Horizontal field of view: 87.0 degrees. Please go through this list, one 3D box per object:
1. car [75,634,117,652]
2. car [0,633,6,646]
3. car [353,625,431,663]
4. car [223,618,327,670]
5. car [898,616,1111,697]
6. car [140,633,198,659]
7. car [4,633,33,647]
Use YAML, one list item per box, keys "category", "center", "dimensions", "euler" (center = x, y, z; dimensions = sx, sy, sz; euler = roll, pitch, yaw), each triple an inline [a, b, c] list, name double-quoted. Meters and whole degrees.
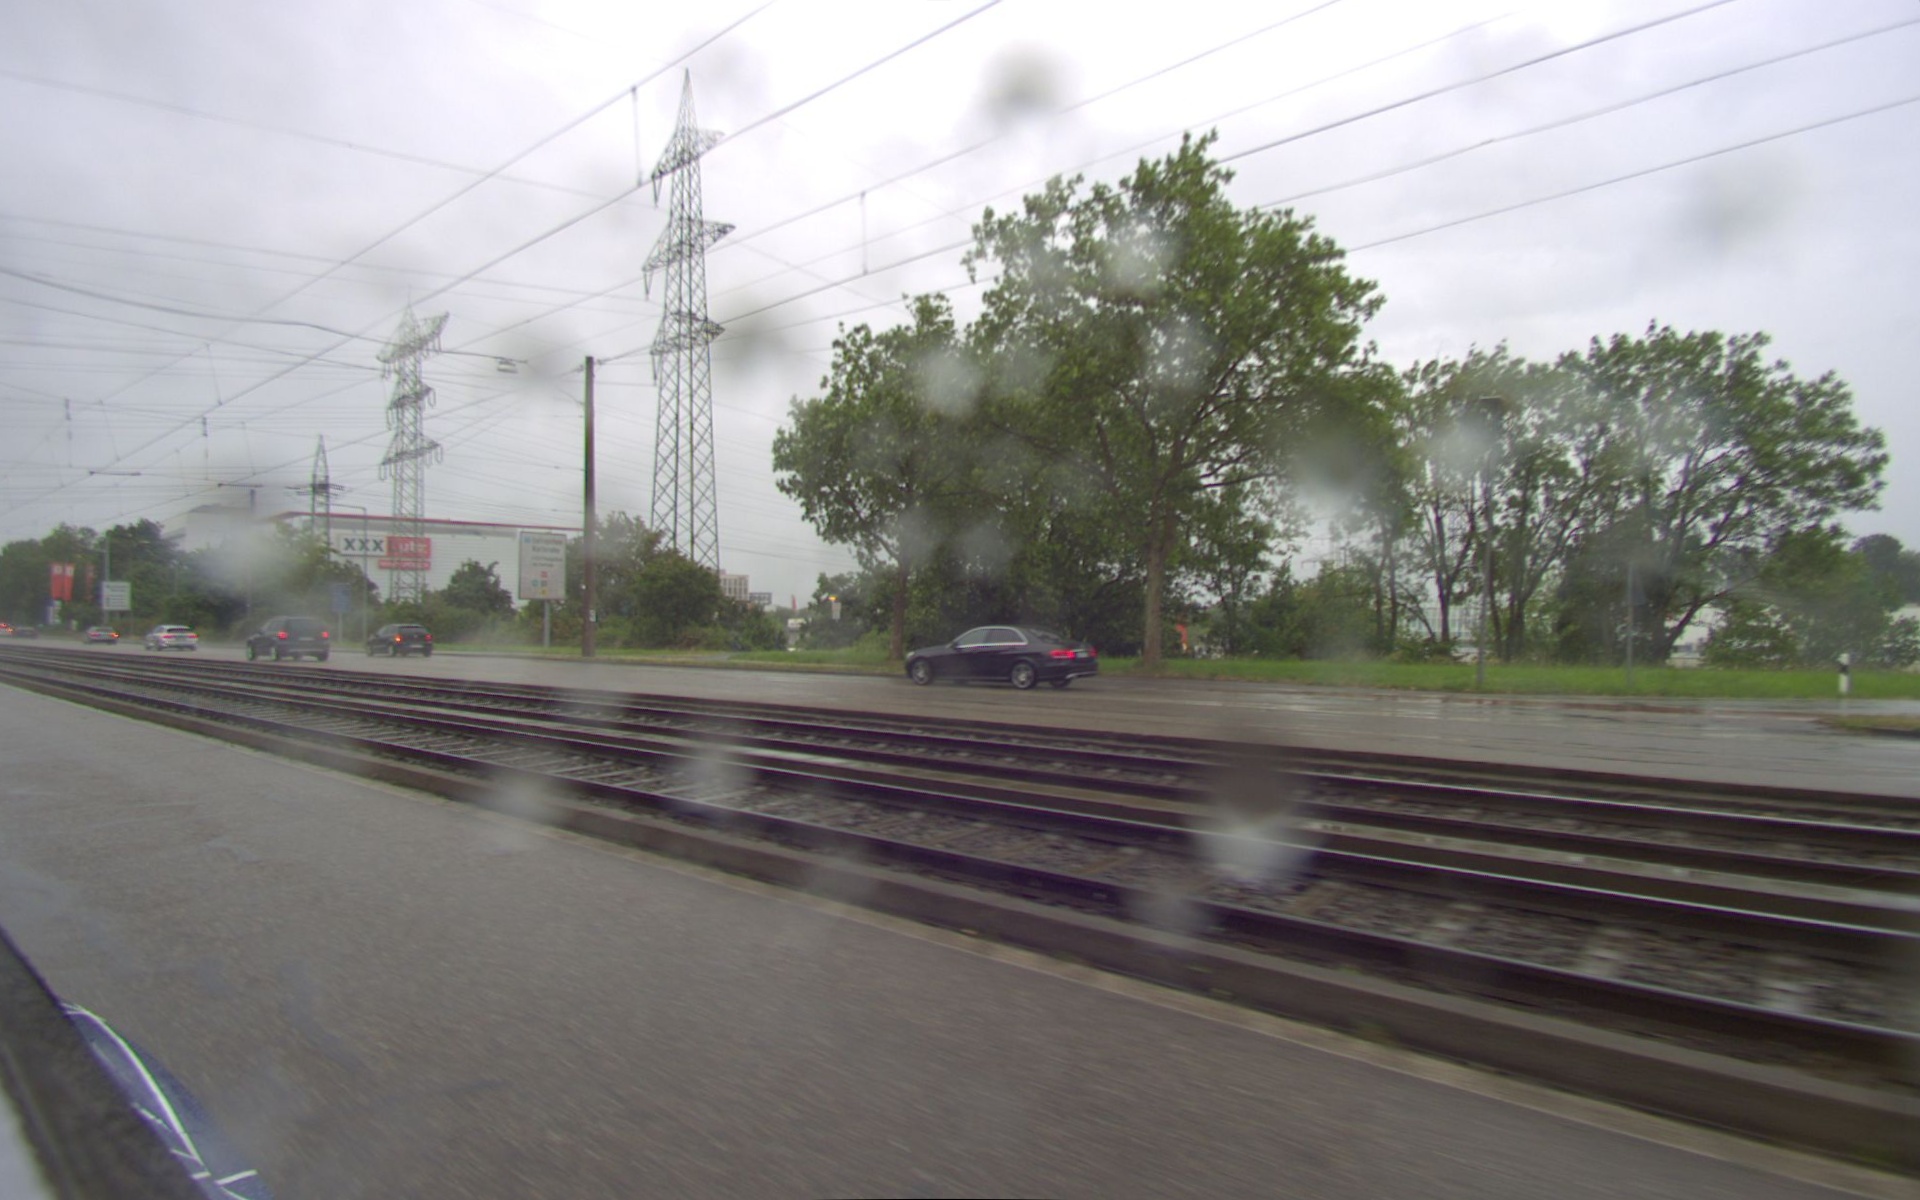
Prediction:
- category: "car"
  center: [-68.838, 3.442, 80.585]
  dimensions: [5.067, 1.373, 1.740]
  euler: [-3, -1, 40]
- category: "car"
  center: [-116.728, 4.800, 122.106]
  dimensions: [5.062, 1.586, 1.824]
  euler: [-3, -1, 40]
- category: "car"
  center: [-25.264, 1.977, 44.954]
  dimensions: [3.996, 1.564, 1.672]
  euler: [-3, -1, 40]
- category: "car"
  center: [-26.085, 1.676, 38.477]
  dimensions: [4.998, 1.823, 1.869]
  euler: [-3, -1, 39]
- category: "car"
  center: [0.989, 1.313, 23.646]
  dimensions: [4.634, 1.699, 1.827]
  euler: [-3, -1, 32]
- category: "car"
  center: [-44.818, 2.610, 57.338]
  dimensions: [4.542, 1.364, 1.724]
  euler: [-3, -1, 41]
- category: "car"
  center: [-104.055, 4.448, 111.803]
  dimensions: [5.251, 1.475, 1.971]
  euler: [-3, -4, 43]
